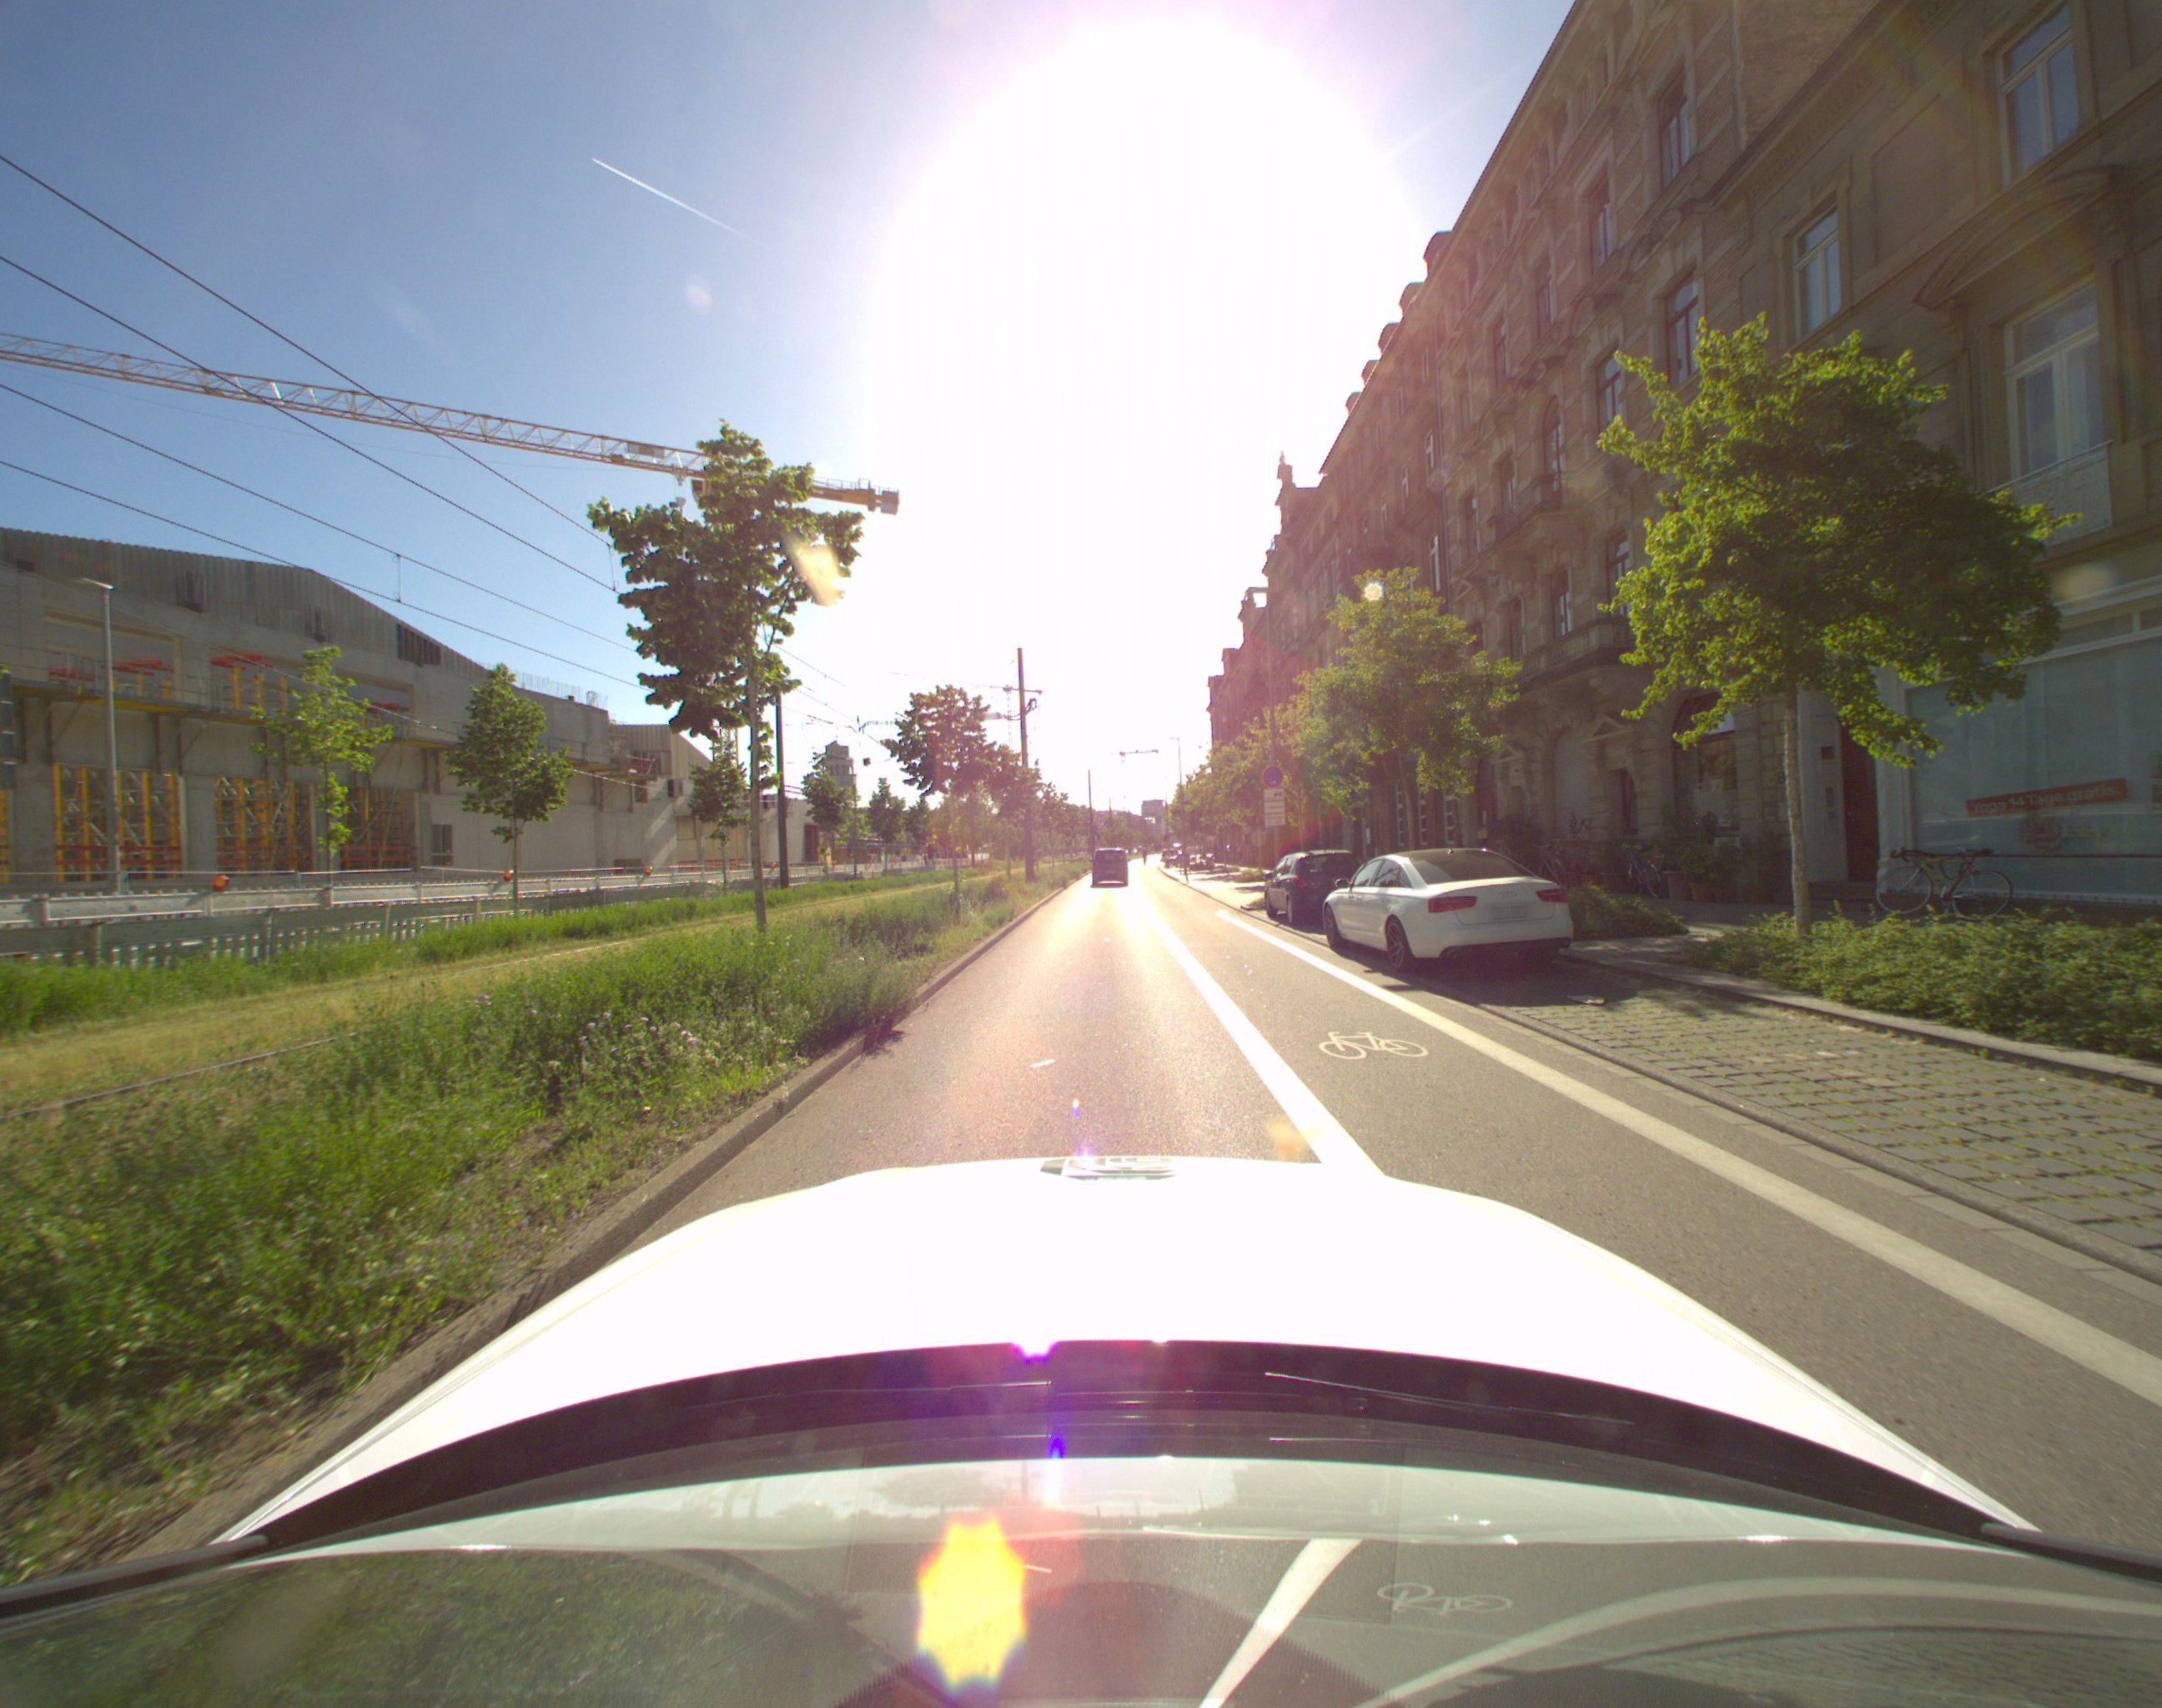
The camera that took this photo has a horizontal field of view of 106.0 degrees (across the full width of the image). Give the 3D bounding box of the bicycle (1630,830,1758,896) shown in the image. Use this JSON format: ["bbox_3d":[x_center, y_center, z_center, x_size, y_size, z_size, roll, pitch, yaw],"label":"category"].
[{"bbox_3d":[11.248,0.154,15.053,0.718,1.090,2.200,-3,0,2],"label":"bicycle"}]

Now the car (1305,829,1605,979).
[{"bbox_3d":[4.776,0.546,11.432,1.944,1.495,5.107,-4,0,2],"label":"car"}]

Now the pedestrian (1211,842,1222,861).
[{"bbox_3d":[12.495,-0.205,75.150,0.841,1.742,0.887,-3,-1,3],"label":"pedestrian"}]

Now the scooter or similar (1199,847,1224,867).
[{"bbox_3d":[8.951,0.219,55.892,1.473,1.216,0.600,-5,1,-9],"label":"scooter or similar"}]

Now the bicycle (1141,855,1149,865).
[{"bbox_3d":[6.866,0.615,87.026,0.698,1.091,2.278,-2,0,2],"label":"bicycle"}]

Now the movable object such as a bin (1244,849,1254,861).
[{"bbox_3d":[13.160,0.048,63.636,0.602,0.916,0.650,-2,0,-3],"label":"movable object such as a bin"}]

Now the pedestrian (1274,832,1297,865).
[{"bbox_3d":[11.005,-0.300,43.833,0.992,1.731,0.866,-1,-1,1],"label":"pedestrian"}]

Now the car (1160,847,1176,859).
[{"bbox_3d":[11.830,-0.113,110.876,1.978,1.638,4.198,-1,-1,7],"label":"car"}]

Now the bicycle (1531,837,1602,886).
[{"bbox_3d":[11.519,0.163,19.395,0.479,1.090,2.058,-3,0,2],"label":"bicycle"}]

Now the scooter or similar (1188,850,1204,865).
[{"bbox_3d":[9.320,0.265,65.876,1.214,1.106,0.784,-4,1,4],"label":"scooter or similar"}]

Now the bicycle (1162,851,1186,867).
[{"bbox_3d":[7.850,0.437,68.768,1.875,1.233,0.499,-5,-1,-4],"label":"bicycle"}]

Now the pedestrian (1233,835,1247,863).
[{"bbox_3d":[12.083,-0.373,61.837,0.814,2.014,1.046,-1,-3,2],"label":"pedestrian"}]

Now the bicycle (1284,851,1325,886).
[{"bbox_3d":[7.655,0.502,27.978,0.649,1.120,2.169,-4,-1,-4],"label":"bicycle"}]

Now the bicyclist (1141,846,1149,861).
[{"bbox_3d":[6.836,-0.037,87.015,0.680,1.584,0.840,-2,0,1],"label":"bicyclist"}]

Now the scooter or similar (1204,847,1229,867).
[{"bbox_3d":[9.158,0.206,55.128,1.469,1.216,0.601,-5,1,-2],"label":"scooter or similar"}]

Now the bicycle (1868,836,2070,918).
[{"bbox_3d":[11.325,0.264,10.500,0.445,0.945,2.013,-2,0,2],"label":"bicycle"}]

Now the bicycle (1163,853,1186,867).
[{"bbox_3d":[8.045,0.522,70.299,1.821,1.078,0.664,-5,0,-4],"label":"bicycle"}]

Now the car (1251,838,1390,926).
[{"bbox_3d":[5.157,0.570,18.163,1.877,1.569,4.222,-5,-1,2],"label":"car"}]

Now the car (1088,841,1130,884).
[{"bbox_3d":[1.426,0.431,40.785,1.985,2.014,4.002,-1,-1,2],"label":"car"}]

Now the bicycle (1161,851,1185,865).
[{"bbox_3d":[8.105,0.360,71.816,1.912,1.121,0.664,-6,0,-4],"label":"bicycle"}]

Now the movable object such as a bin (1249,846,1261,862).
[{"bbox_3d":[12.892,-0.005,60.401,0.723,1.098,0.747,-2,0,-3],"label":"movable object such as a bin"}]
